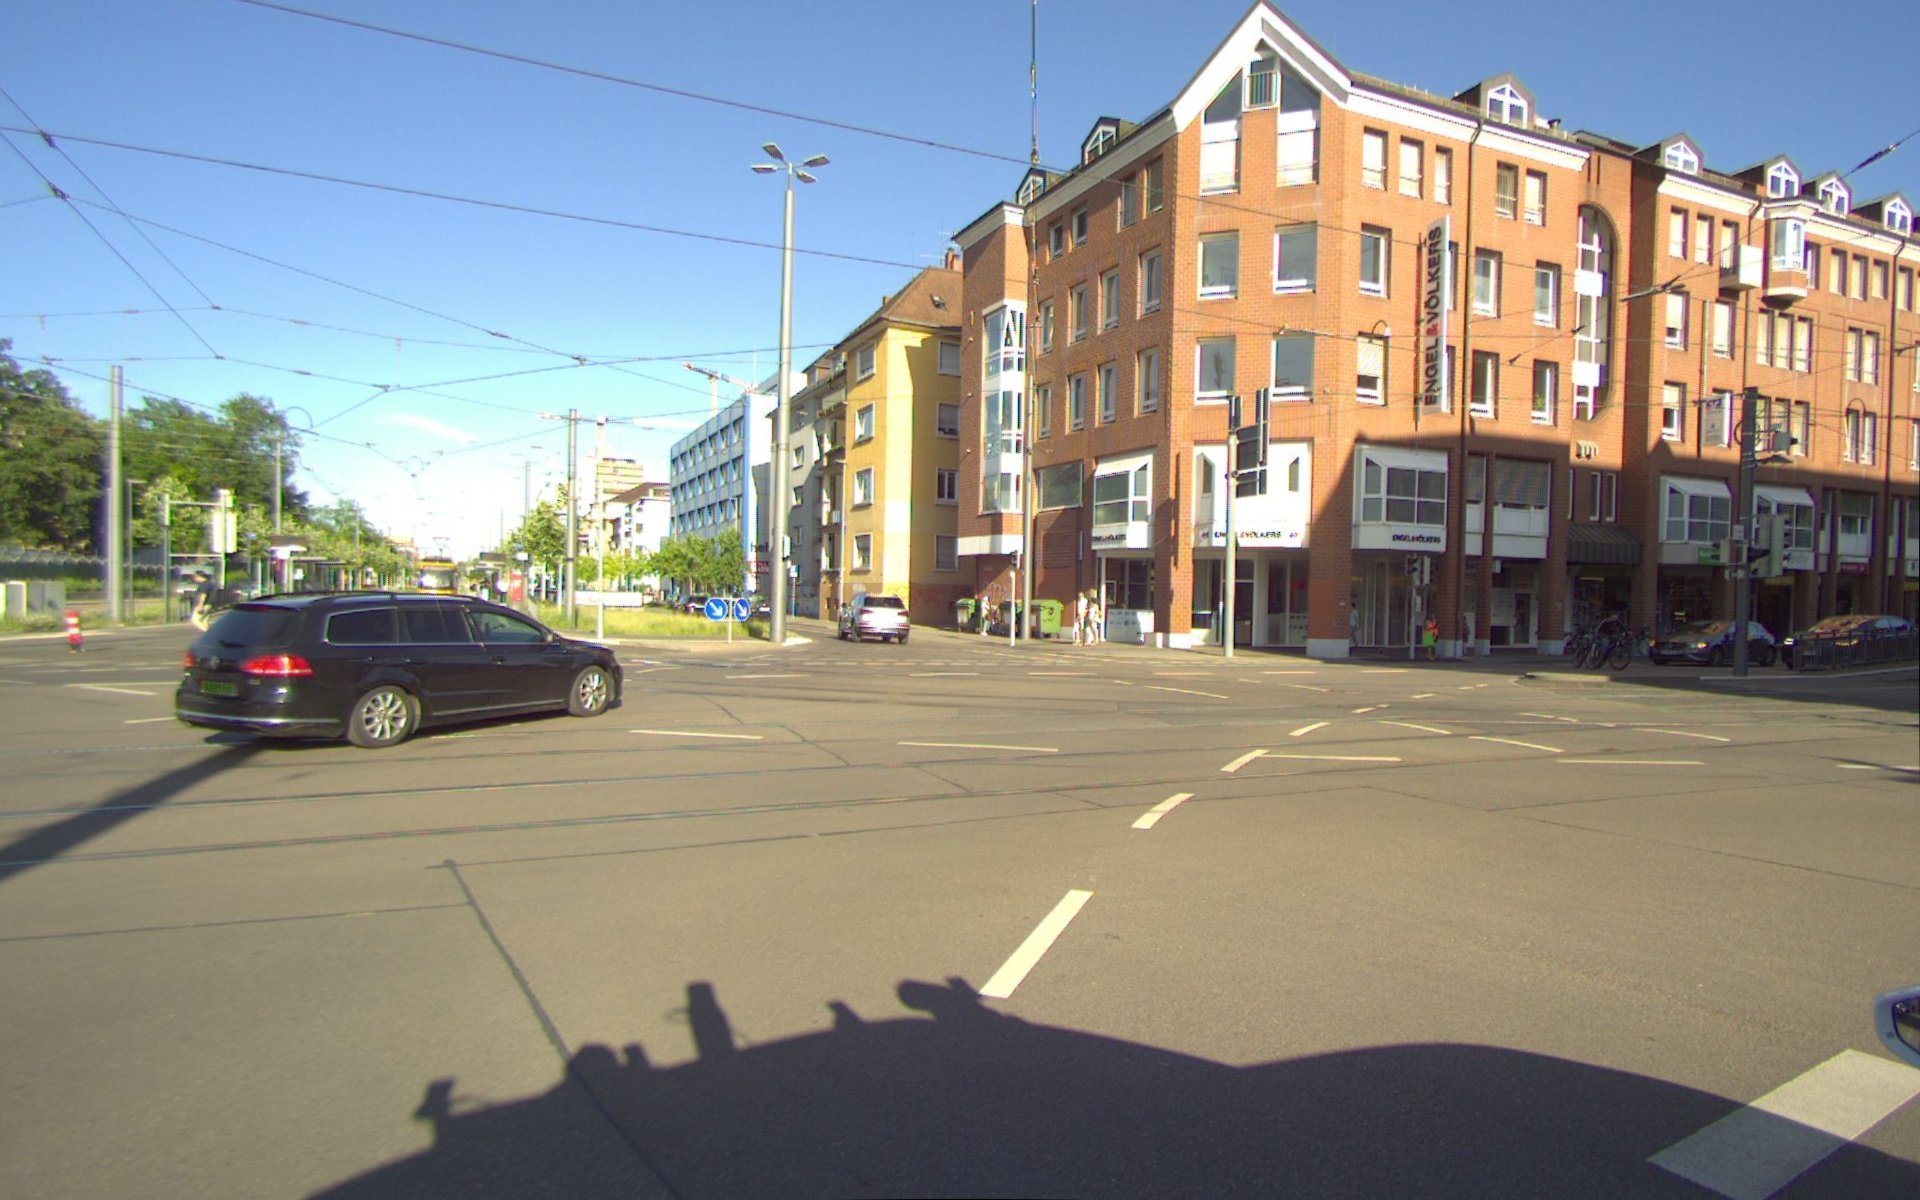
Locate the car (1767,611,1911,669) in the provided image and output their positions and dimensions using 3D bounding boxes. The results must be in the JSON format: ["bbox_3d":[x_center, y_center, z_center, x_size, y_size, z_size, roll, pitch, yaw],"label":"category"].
[{"bbox_3d":[25.491,1.141,29.140,3.740,1.564,1.812,1,-1,-25],"label":"car"}]

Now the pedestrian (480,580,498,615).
[{"bbox_3d":[-27.998,-0.160,59.736,0.788,2.037,0.805,1,1,-13],"label":"pedestrian"}]

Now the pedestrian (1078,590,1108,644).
[{"bbox_3d":[4.428,0.570,33.436,0.703,1.750,0.685,1,1,-29],"label":"pedestrian"}]

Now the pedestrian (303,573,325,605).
[{"bbox_3d":[-41.566,-0.692,64.658,0.881,2.037,0.922,1,1,-12],"label":"pedestrian"}]

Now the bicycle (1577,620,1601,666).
[{"bbox_3d":[17.415,1.175,27.841,0.483,1.173,1.712,2,1,31],"label":"bicycle"}]

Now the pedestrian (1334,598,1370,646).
[{"bbox_3d":[13.468,0.744,34.524,0.846,1.589,0.887,2,1,3],"label":"pedestrian"}]

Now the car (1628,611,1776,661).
[{"bbox_3d":[23.077,1.104,31.261,3.915,1.473,1.816,1,-1,-19],"label":"car"}]

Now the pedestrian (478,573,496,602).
[{"bbox_3d":[-33.272,-0.898,70.643,0.915,2.037,1.001,1,2,-35],"label":"pedestrian"}]

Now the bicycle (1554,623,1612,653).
[{"bbox_3d":[21.669,1.309,34.958,0.514,0.912,1.706,1,1,-23],"label":"bicycle"}]

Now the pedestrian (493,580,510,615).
[{"bbox_3d":[-27.211,-0.126,59.592,0.794,2.037,0.799,1,2,-35],"label":"pedestrian"}]

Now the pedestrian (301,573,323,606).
[{"bbox_3d":[-40.552,-0.663,62.869,1.075,2.041,1.007,1,1,-30],"label":"pedestrian"}]

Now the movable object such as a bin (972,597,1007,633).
[{"bbox_3d":[1.248,0.620,41.994,1.083,1.456,0.991,1,1,-29],"label":"movable object such as a bin"}]

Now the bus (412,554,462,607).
[{"bbox_3d":[-39.008,-1.488,75.154,2.912,3.611,9.366,1,1,-26],"label":"bus"}]

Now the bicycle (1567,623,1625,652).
[{"bbox_3d":[22.289,1.316,35.255,0.514,0.912,1.706,1,1,-23],"label":"bicycle"}]

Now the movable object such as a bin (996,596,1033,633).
[{"bbox_3d":[2.153,0.572,39.889,1.083,1.456,0.991,1,1,-29],"label":"movable object such as a bin"}]

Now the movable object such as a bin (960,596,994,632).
[{"bbox_3d":[0.718,0.594,42.991,1.083,1.456,0.991,1,1,-29],"label":"movable object such as a bin"}]

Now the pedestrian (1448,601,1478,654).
[{"bbox_3d":[16.547,0.892,33.047,0.544,1.693,0.619,1,1,-26],"label":"pedestrian"}]

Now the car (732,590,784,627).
[{"bbox_3d":[-9.881,0.380,49.033,1.557,1.640,3.757,1,1,-26],"label":"car"}]

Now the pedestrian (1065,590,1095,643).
[{"bbox_3d":[4.063,0.549,34.085,0.703,1.750,0.685,1,1,-29],"label":"pedestrian"}]

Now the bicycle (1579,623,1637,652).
[{"bbox_3d":[22.886,1.326,35.525,0.514,0.912,1.706,1,1,-23],"label":"bicycle"}]

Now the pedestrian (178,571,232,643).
[{"bbox_3d":[-18.363,0.166,24.444,0.918,1.733,0.692,1,1,-26],"label":"pedestrian"}]

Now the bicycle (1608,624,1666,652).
[{"bbox_3d":[24.449,1.376,36.298,0.514,0.912,1.706,1,1,-23],"label":"bicycle"}]

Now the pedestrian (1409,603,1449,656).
[{"bbox_3d":[14.710,0.919,31.523,0.765,1.616,0.710,1,4,-22],"label":"pedestrian"}]

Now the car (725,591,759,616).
[{"bbox_3d":[-15.048,0.241,69.385,1.543,1.640,3.295,1,1,-26],"label":"car"}]

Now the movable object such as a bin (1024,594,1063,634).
[{"bbox_3d":[3.139,0.526,37.958,1.083,1.456,0.991,1,1,-29],"label":"movable object such as a bin"}]

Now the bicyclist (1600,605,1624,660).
[{"bbox_3d":[17.950,0.886,27.652,0.475,1.490,0.717,2,1,31],"label":"bicyclist"}]

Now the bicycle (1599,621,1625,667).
[{"bbox_3d":[17.888,1.193,27.577,0.483,1.173,1.679,2,1,31],"label":"bicycle"}]

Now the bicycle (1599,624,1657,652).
[{"bbox_3d":[23.943,1.354,36.052,0.514,0.912,1.706,1,1,-23],"label":"bicycle"}]

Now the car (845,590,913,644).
[{"bbox_3d":[-2.778,0.535,33.792,1.813,1.657,3.477,1,1,-12],"label":"car"}]

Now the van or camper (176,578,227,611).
[{"bbox_3d":[-50.585,-0.400,67.071,1.955,2.028,4.326,1,1,-27],"label":"van or camper"}]

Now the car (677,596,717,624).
[{"bbox_3d":[-16.396,0.604,62.547,1.708,1.572,3.450,1,1,-26],"label":"car"}]

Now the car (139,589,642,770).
[{"bbox_3d":[-5.699,0.638,10.786,1.737,1.463,4.523,2,1,26],"label":"car"}]

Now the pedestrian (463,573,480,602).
[{"bbox_3d":[-34.089,-0.877,70.049,0.915,2.037,1.001,1,2,-35],"label":"pedestrian"}]
